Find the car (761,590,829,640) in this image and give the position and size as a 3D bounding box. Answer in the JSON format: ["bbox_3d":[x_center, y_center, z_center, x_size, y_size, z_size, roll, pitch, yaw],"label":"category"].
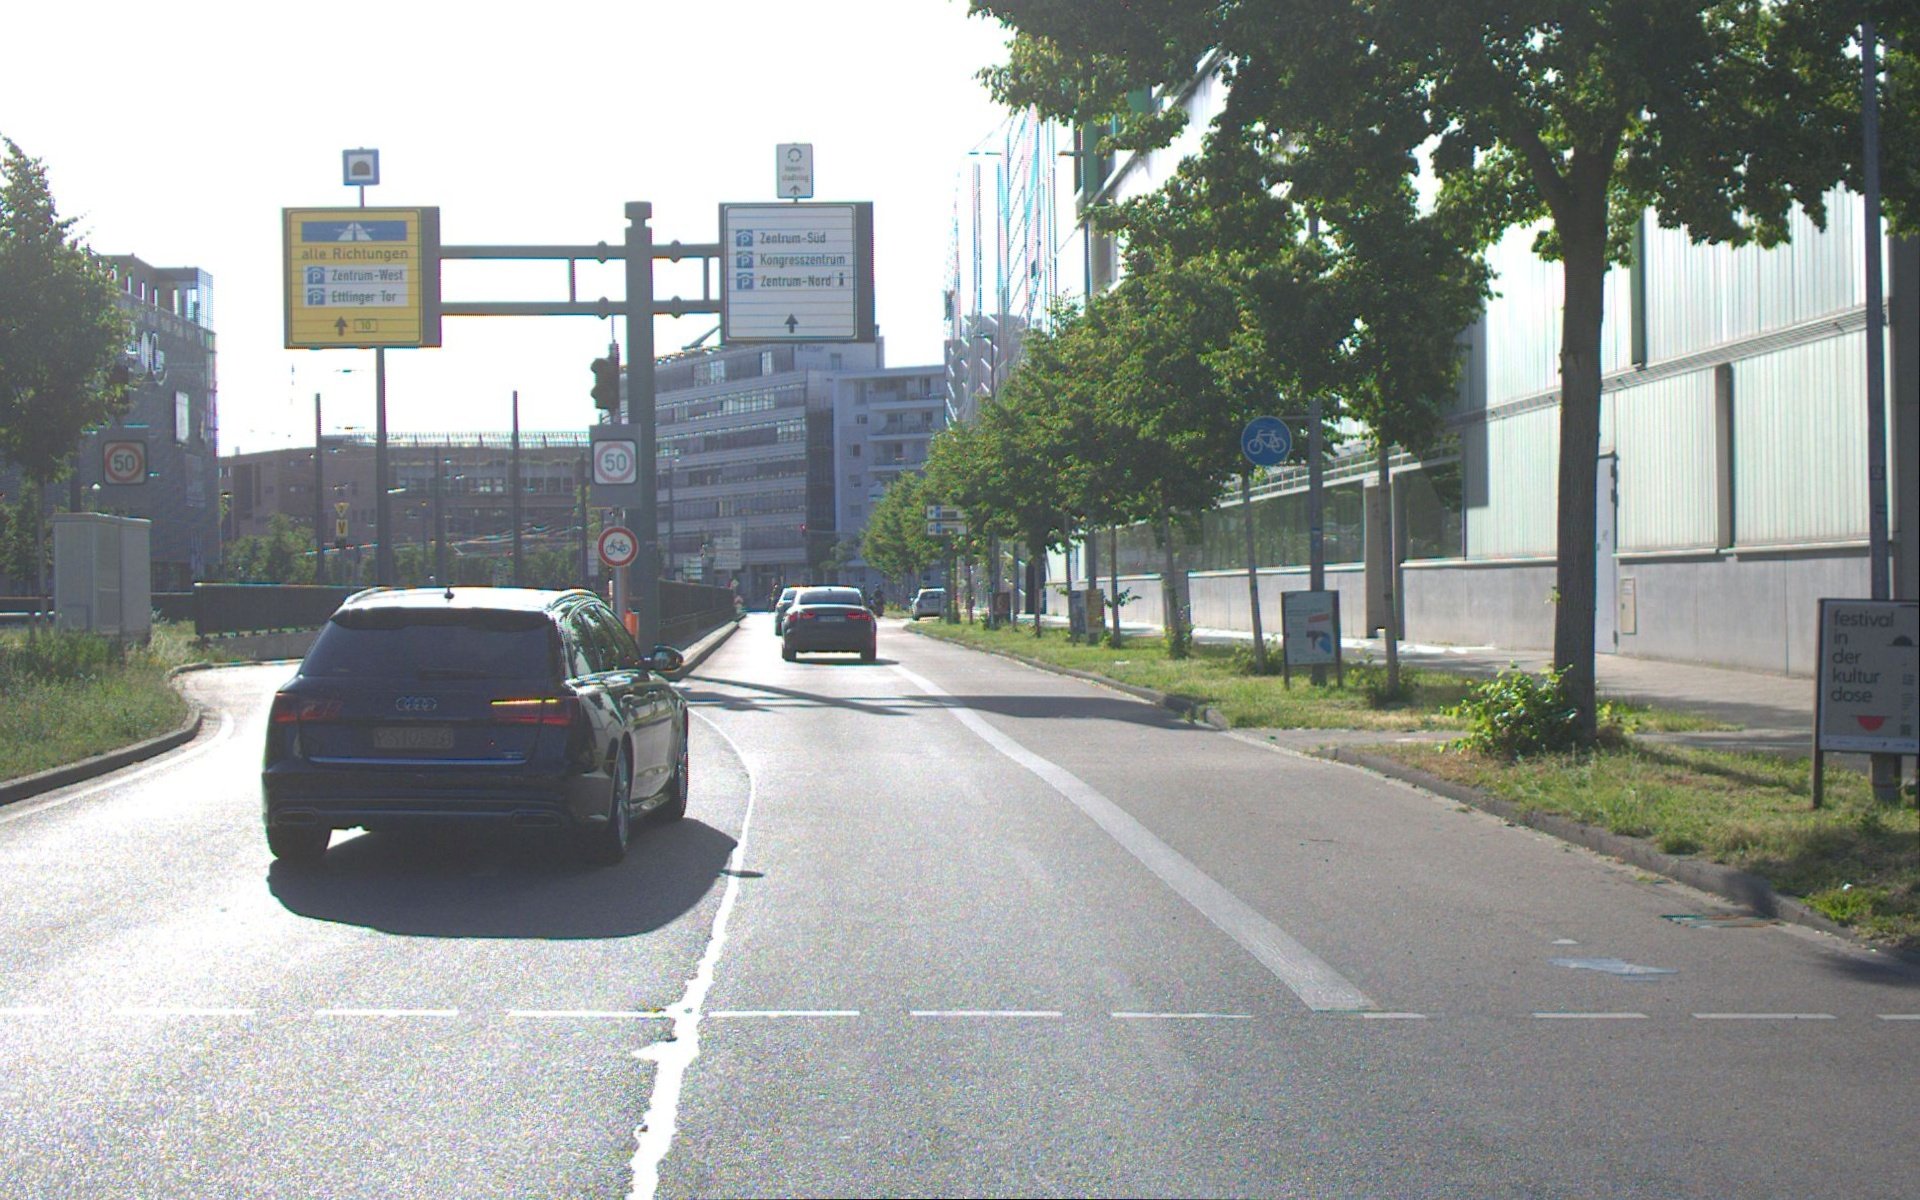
[{"bbox_3d":[-5.068,0.451,105.333,1.993,1.460,4.001,0,1,-4],"label":"car"}]

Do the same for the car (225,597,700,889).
[{"bbox_3d":[-2.636,0.708,19.317,1.812,1.422,4.689,-1,0,2],"label":"car"}]

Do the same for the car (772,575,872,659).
[{"bbox_3d":[-2.666,0.313,66.090,1.852,1.541,4.000,1,0,-3],"label":"car"}]
